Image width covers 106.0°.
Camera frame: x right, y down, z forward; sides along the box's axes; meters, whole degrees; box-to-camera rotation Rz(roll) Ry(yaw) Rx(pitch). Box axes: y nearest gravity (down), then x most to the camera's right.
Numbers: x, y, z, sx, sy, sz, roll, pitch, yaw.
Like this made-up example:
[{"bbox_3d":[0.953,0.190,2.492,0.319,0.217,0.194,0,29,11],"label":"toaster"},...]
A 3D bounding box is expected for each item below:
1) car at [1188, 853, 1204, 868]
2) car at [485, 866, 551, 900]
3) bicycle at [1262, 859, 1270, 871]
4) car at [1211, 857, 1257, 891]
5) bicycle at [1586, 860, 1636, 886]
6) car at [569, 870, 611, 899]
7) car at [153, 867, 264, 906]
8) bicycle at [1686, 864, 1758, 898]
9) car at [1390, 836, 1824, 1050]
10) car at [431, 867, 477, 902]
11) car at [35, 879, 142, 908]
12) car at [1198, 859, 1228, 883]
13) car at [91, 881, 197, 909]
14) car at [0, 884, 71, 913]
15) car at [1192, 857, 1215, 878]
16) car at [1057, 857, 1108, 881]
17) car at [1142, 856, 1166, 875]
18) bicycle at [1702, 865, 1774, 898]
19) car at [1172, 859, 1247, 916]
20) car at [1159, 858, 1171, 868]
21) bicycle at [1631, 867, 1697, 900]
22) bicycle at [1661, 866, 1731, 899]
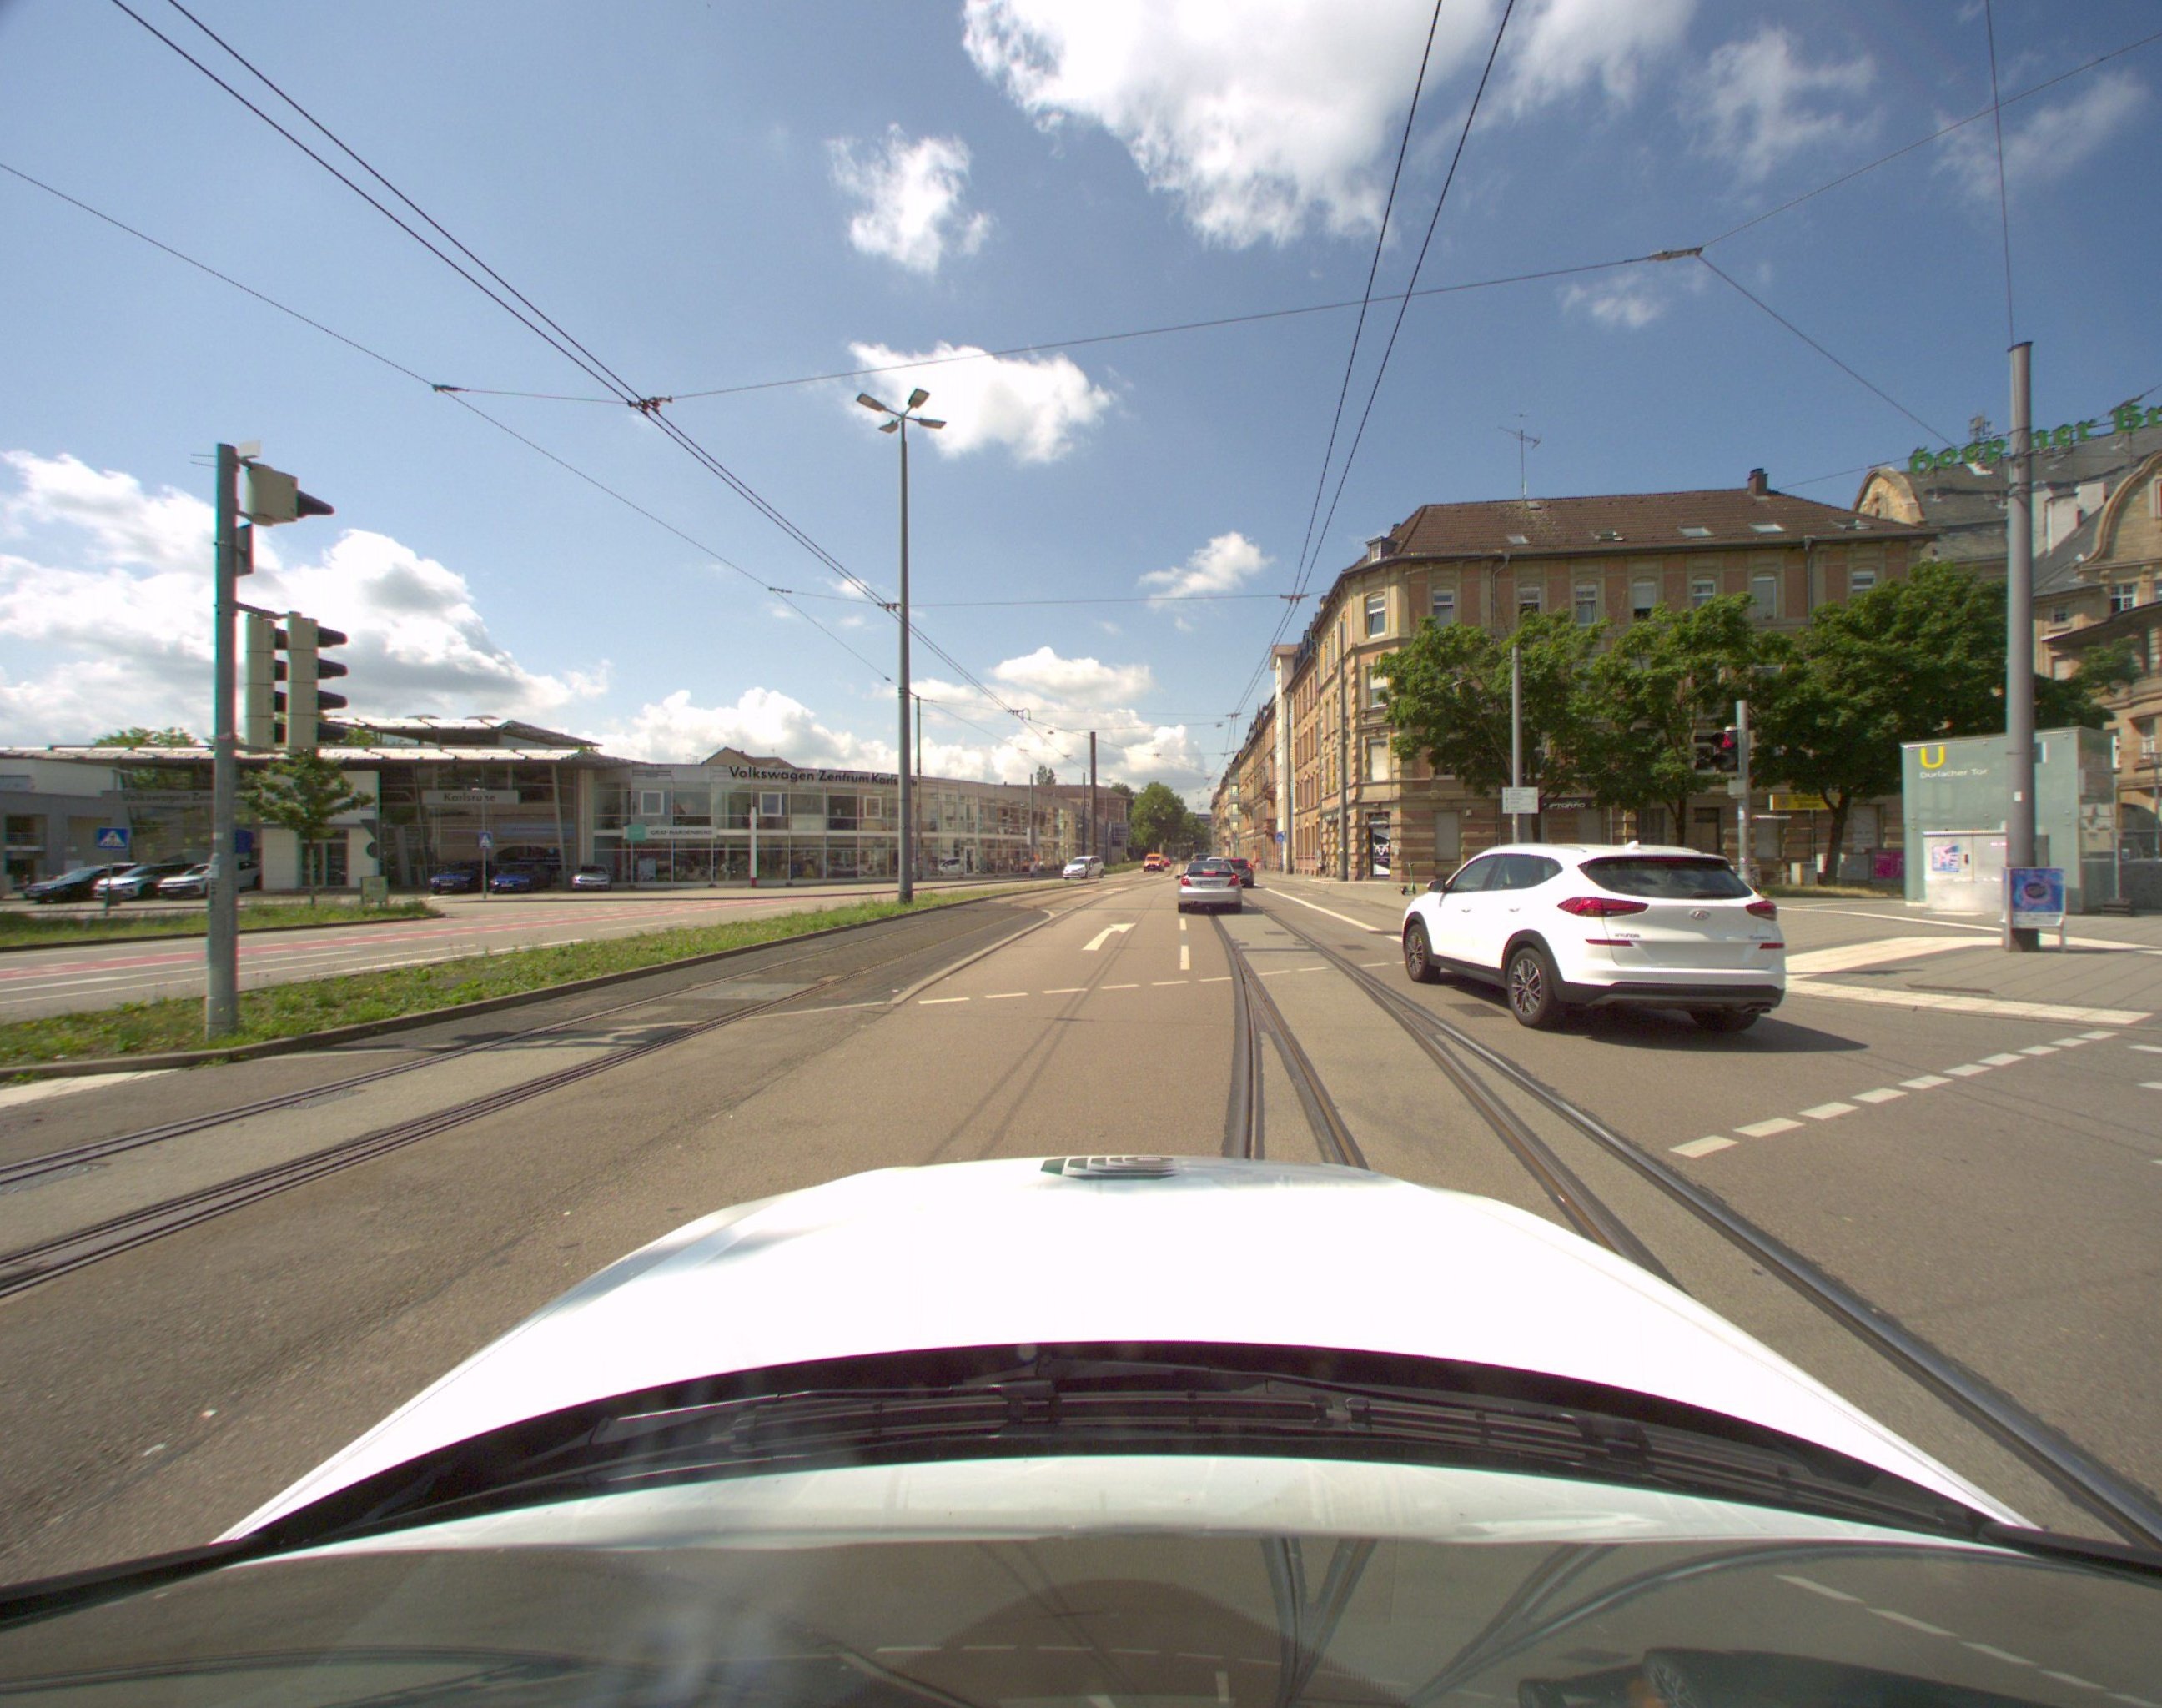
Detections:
[{"bbox_3d":[15.558,0.863,110.264,1.984,1.860,4.006,-1,0,5],"label":"car"},{"bbox_3d":[-29.060,1.447,42.145,1.659,1.473,3.767,0,2,-16],"label":"car"},{"bbox_3d":[18.894,1.119,83.374,0.583,1.178,2.210,-1,0,8],"label":"bicycle"},{"bbox_3d":[7.431,0.935,39.841,1.806,1.524,4.091,0,0,5],"label":"car"},{"bbox_3d":[22.661,0.804,34.855,1.634,1.050,0.767,-1,0,14],"label":"bicycle"},{"bbox_3d":[-26.717,1.618,44.404,1.840,1.447,3.910,-1,0,-29],"label":"car"},{"bbox_3d":[-43.764,1.595,40.973,1.693,1.774,3.856,-1,0,-7],"label":"car"},{"bbox_3d":[22.147,0.924,28.197,0.787,1.091,2.580,-2,-1,10],"label":"bicycle"},{"bbox_3d":[4.863,0.680,8.394,1.845,1.634,4.182,-1,0,1],"label":"car"},{"bbox_3d":[-32.226,1.516,41.890,1.785,1.673,3.598,0,-1,-37],"label":"car"},{"bbox_3d":[-48.634,1.906,40.012,1.556,1.246,3.619,-1,0,-16],"label":"car"},{"bbox_3d":[8.767,1.075,54.186,1.805,1.524,3.963,-1,0,7],"label":"car"},{"bbox_3d":[-46.404,1.997,40.430,1.554,1.246,3.624,-1,0,-12],"label":"car"},{"bbox_3d":[-51.372,2.136,39.228,1.556,1.246,3.619,-1,0,-16],"label":"car"},{"bbox_3d":[10.486,1.150,69.691,1.805,1.662,4.093,-1,-1,7],"label":"car"},{"bbox_3d":[0.169,1.101,60.262,1.750,1.604,4.521,-2,0,28],"label":"car"},{"bbox_3d":[7.430,1.133,82.612,1.899,1.866,4.381,-2,0,11],"label":"car"},{"bbox_3d":[23.092,0.952,28.687,0.787,1.054,2.580,-2,-1,10],"label":"bicycle"},{"bbox_3d":[3.516,0.875,22.967,1.806,1.420,4.193,0,0,5],"label":"car"},{"bbox_3d":[12.112,1.358,117.779,1.693,1.428,3.909,-1,-1,6],"label":"car"},{"bbox_3d":[20.434,1.008,28.609,0.787,1.070,2.580,-2,-1,10],"label":"bicycle"},{"bbox_3d":[21.256,0.968,28.230,0.787,1.054,2.580,-2,-1,10],"label":"bicycle"}]
